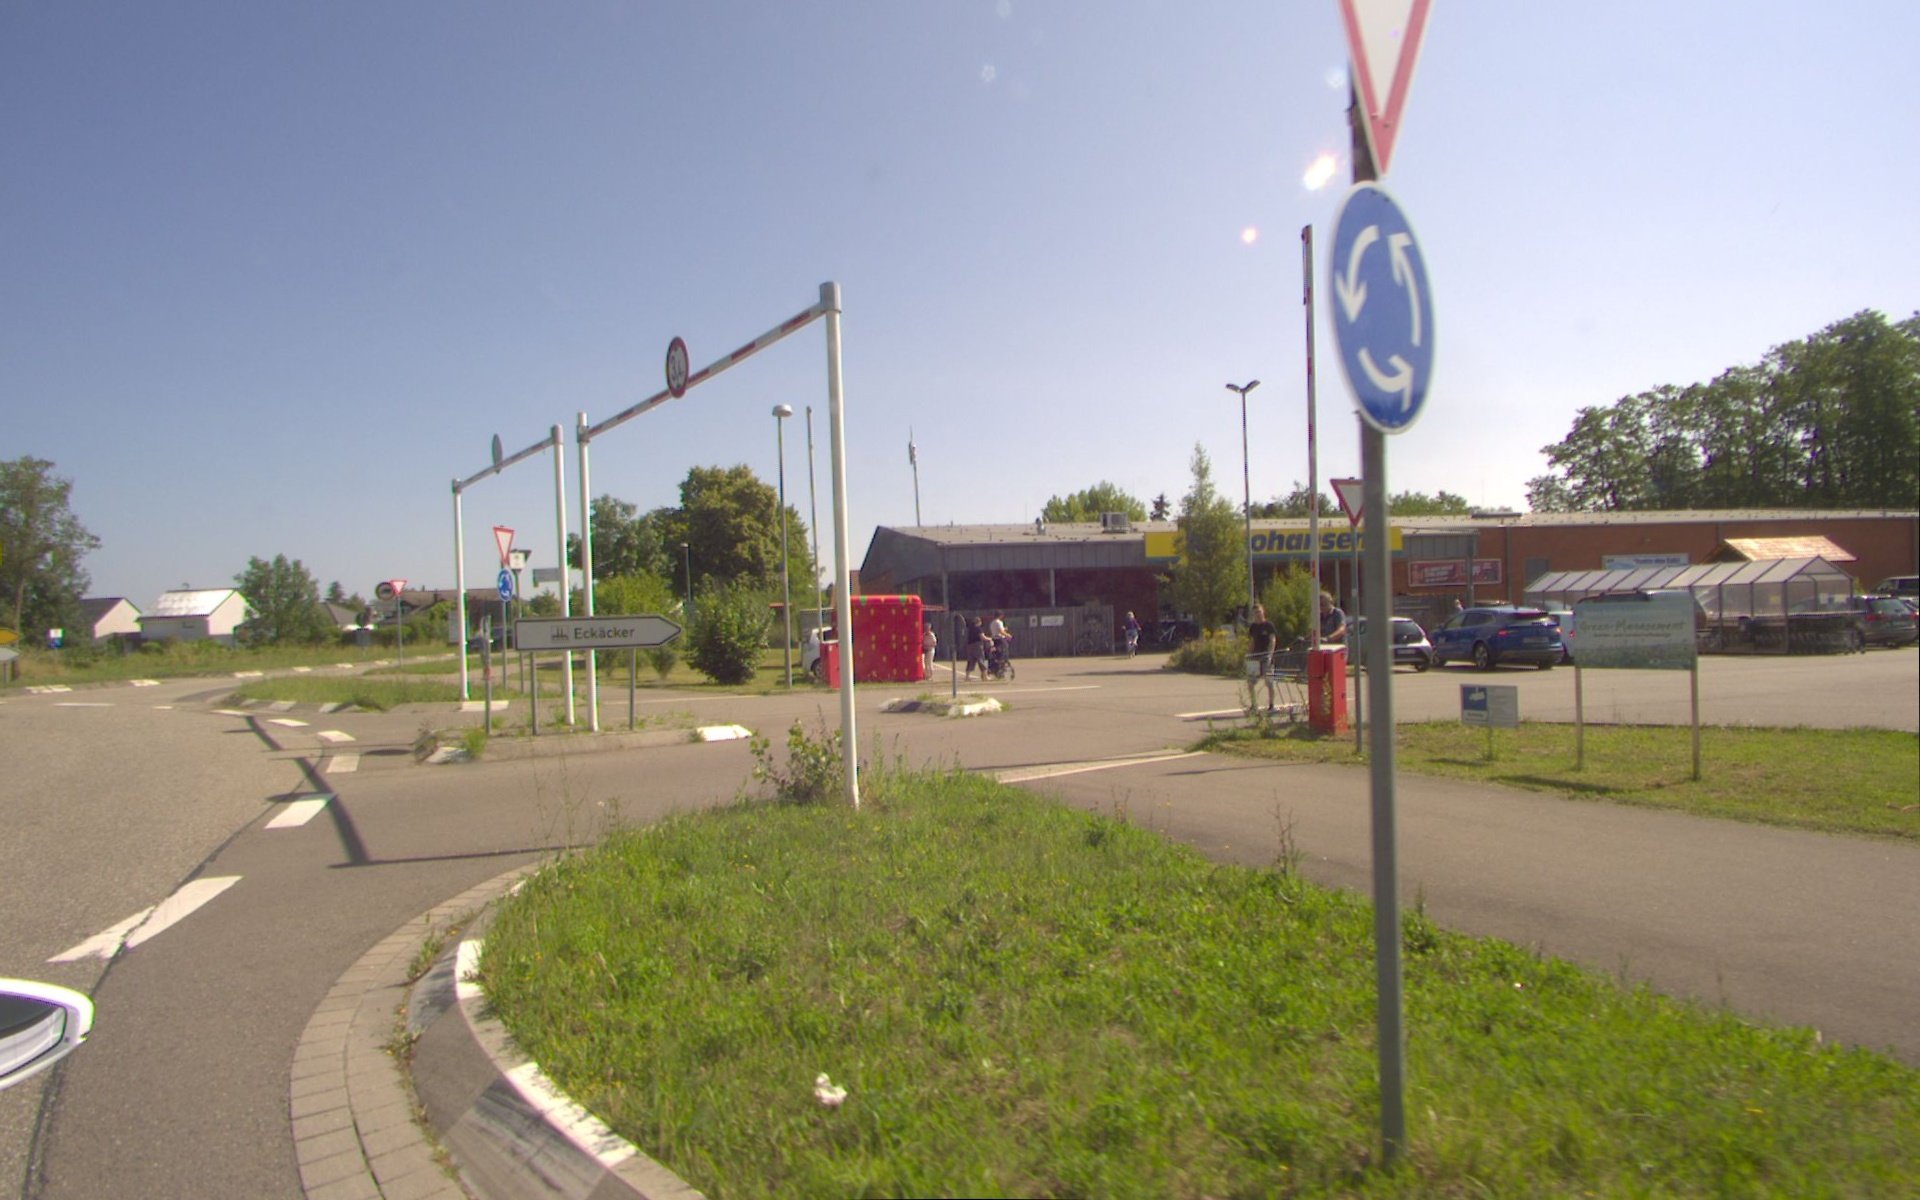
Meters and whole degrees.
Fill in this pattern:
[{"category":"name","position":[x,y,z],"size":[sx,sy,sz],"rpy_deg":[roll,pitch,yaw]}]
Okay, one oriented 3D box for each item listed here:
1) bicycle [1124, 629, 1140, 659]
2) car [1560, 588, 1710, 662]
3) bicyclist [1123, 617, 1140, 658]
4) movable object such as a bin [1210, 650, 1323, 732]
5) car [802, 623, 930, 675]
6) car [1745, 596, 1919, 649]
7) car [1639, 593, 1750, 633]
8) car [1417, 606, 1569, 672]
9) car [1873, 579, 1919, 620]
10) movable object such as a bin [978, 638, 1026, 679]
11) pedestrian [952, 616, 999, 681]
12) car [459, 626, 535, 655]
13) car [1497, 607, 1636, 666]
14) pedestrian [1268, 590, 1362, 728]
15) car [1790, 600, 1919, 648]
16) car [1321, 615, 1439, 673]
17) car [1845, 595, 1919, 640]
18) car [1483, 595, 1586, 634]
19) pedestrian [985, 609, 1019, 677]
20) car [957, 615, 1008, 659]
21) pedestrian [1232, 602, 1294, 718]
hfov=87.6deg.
[{"category":"bicycle","position":[6.453,1.642,37.668],"size":[0.543,1.055,2.075],"rpy_deg":[-1,-1,9]},{"category":"car","position":[19.275,0.705,28.768],"size":[1.842,1.954,3.493],"rpy_deg":[-1,-1,-2]},{"category":"bicyclist","position":[6.472,1.400,37.760],"size":[0.596,1.535,0.677],"rpy_deg":[-1,0,9]},{"category":"movable object such as a bin","position":[4.047,1.174,13.230],"size":[1.188,0.967,0.875],"rpy_deg":[-1,-1,-34]},{"category":"car","position":[-2.799,1.437,29.892],"size":[3.699,1.465,1.725],"rpy_deg":[0,0,-6]},{"category":"car","position":[26.139,0.672,29.888],"size":[1.945,1.438,3.999],"rpy_deg":[-1,-1,-9]},{"category":"car","position":[35.436,0.650,48.422],"size":[1.963,1.839,3.996],"rpy_deg":[-1,-1,-13]},{"category":"car","position":[14.136,1.012,26.868],"size":[1.683,1.591,4.429],"rpy_deg":[-1,-1,0]},{"category":"car","position":[48.041,-0.051,49.426],"size":[1.962,2.040,3.999],"rpy_deg":[-2,-1,-8]},{"category":"movable object such as a bin","position":[1.123,1.549,26.780],"size":[1.030,1.060,0.761],"rpy_deg":[0,-1,-44]},{"category":"pedestrian","position":[0.400,1.257,26.103],"size":[0.917,1.640,0.807],"rpy_deg":[-1,0,-45]},{"category":"car","position":[-26.729,2.328,58.017],"size":[1.886,1.452,4.913],"rpy_deg":[-4,-1,2]},{"category":"car","position":[16.915,0.992,28.136],"size":[1.683,1.517,3.493],"rpy_deg":[-1,-1,-2]},{"category":"pedestrian","position":[4.881,0.788,13.791],"size":[0.831,1.809,0.875],"rpy_deg":[-1,0,-34]},{"category":"car","position":[28.524,0.727,31.020],"size":[1.963,1.394,3.998],"rpy_deg":[-1,-1,-11]},{"category":"car","position":[11.566,1.190,27.796],"size":[1.683,1.476,3.493],"rpy_deg":[-1,-1,-2]},{"category":"car","position":[30.810,0.548,31.713],"size":[1.683,1.416,3.998],"rpy_deg":[-1,-1,-10]},{"category":"car","position":[26.601,0.690,46.518],"size":[1.963,1.706,3.996],"rpy_deg":[-1,-1,-13]},{"category":"pedestrian","position":[1.186,1.199,28.195],"size":[0.825,1.895,0.774],"rpy_deg":[-1,0,10]},{"category":"car","position":[0.869,1.423,39.148],"size":[1.794,1.657,1.130],"rpy_deg":[-1,-1,-8]},{"category":"pedestrian","position":[4.512,0.877,14.924],"size":[0.695,1.669,0.592],"rpy_deg":[-1,0,37]}]
